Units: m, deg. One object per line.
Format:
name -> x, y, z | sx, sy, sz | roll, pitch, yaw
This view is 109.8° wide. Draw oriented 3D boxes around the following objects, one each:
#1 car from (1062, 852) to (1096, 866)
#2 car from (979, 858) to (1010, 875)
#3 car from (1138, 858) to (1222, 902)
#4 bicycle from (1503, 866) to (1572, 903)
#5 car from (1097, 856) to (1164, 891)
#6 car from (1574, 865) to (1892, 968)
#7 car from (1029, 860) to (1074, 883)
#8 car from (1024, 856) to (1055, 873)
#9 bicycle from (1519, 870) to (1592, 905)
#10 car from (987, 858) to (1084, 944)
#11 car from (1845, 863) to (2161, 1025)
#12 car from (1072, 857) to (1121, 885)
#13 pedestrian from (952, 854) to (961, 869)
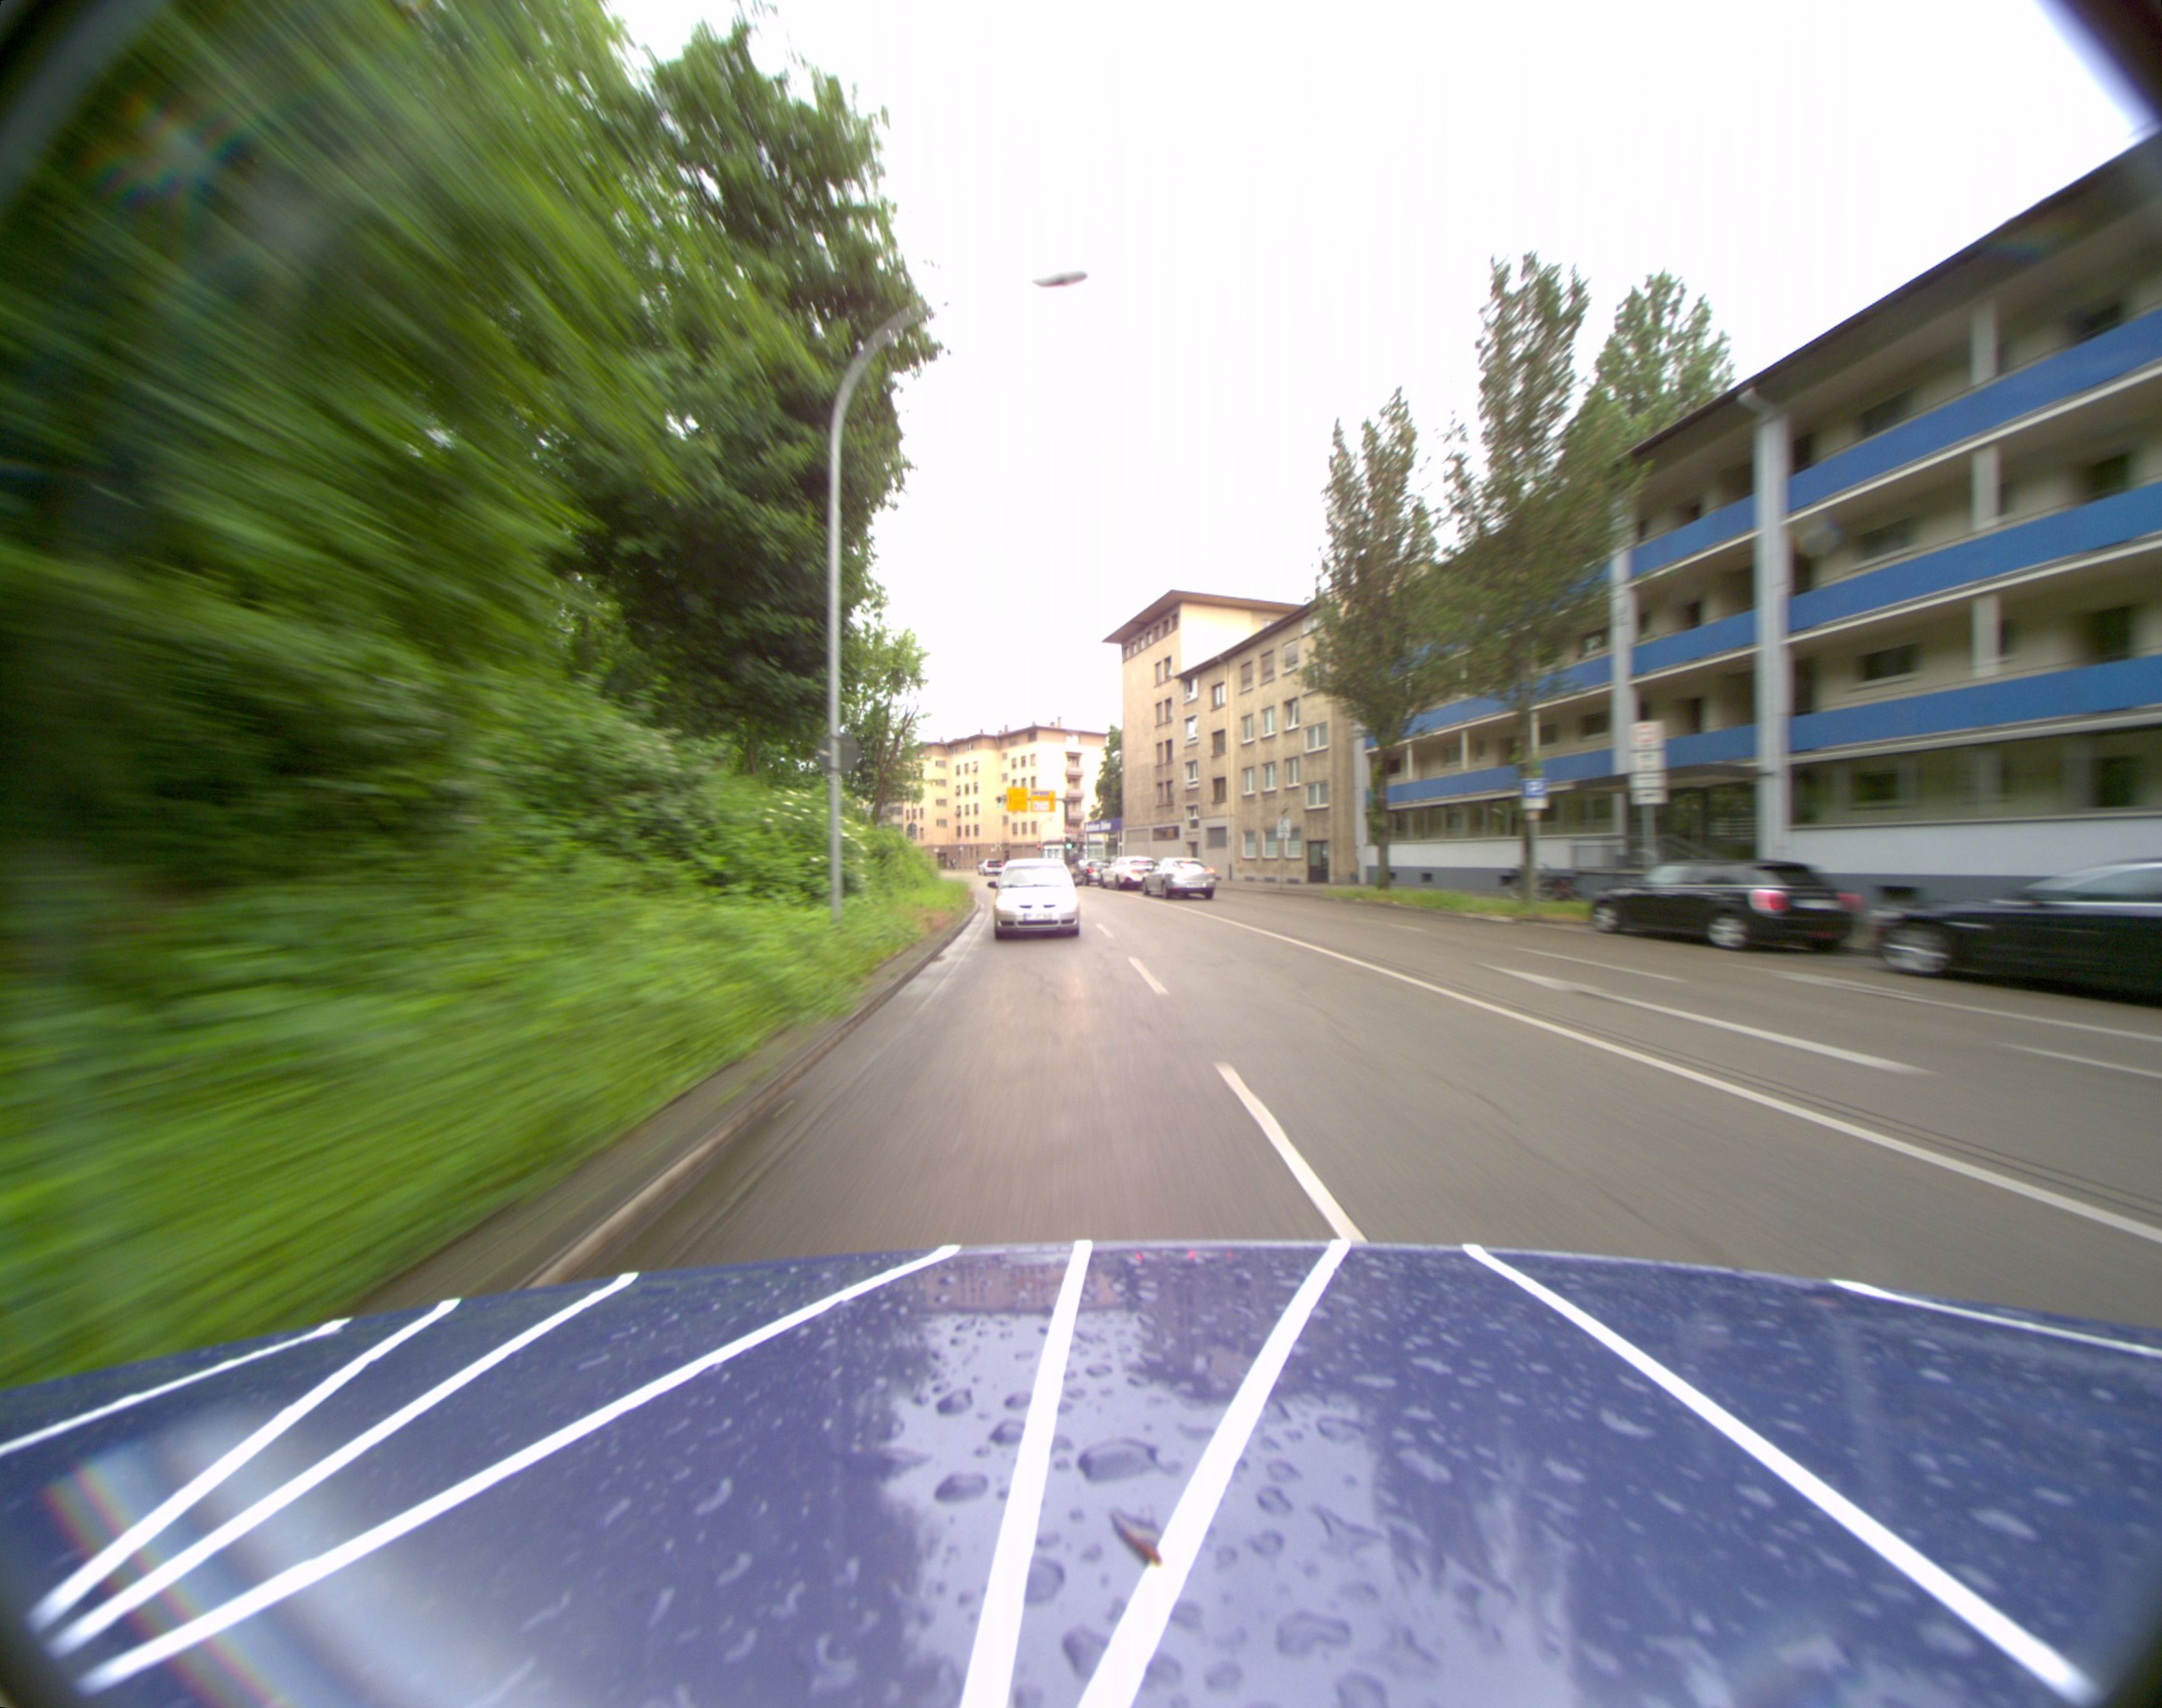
car -> -0.232, 0.572, 94.280 | 1.763, 1.638, 4.269 | -2, 2, -45
car -> -7.842, 1.070, 68.520 | 1.792, 1.487, 4.209 | 0, 0, -20
car -> 3.519, 0.888, 27.881 | 1.758, 1.417, 4.533 | -1, 0, -10
bicycle -> 13.155, 0.857, 21.952 | 0.614, 1.017, 1.731 | -1, 0, -18
car -> 2.198, 0.851, 35.199 | 1.826, 1.507, 5.023 | 0, 0, -12
car -> 10.691, 0.930, 12.953 | 1.784, 1.395, 4.087 | 1, 0, -2
car -> -1.980, 1.093, 49.709 | 1.798, 1.399, 4.618 | 0, 0, -18
car -> -3.680, 0.930, 66.646 | 1.665, 1.447, 3.993 | 1, 0, -20
bicycle -> 12.775, 0.884, 20.519 | 0.669, 0.821, 1.739 | -4, 1, -10
car -> -0.949, 0.893, 16.230 | 1.753, 1.510, 3.999 | -2, 0, -3
car -> 10.803, 0.868, 7.331 | 1.826, 1.431, 4.891 | 1, 0, -2
car -> 0.778, 0.874, 40.766 | 1.686, 1.439, 3.815 | 0, 0, -15
pedestrian -> -16.948, 1.009, 103.472 | 0.812, 2.002, 0.856 | -2, 0, -36
